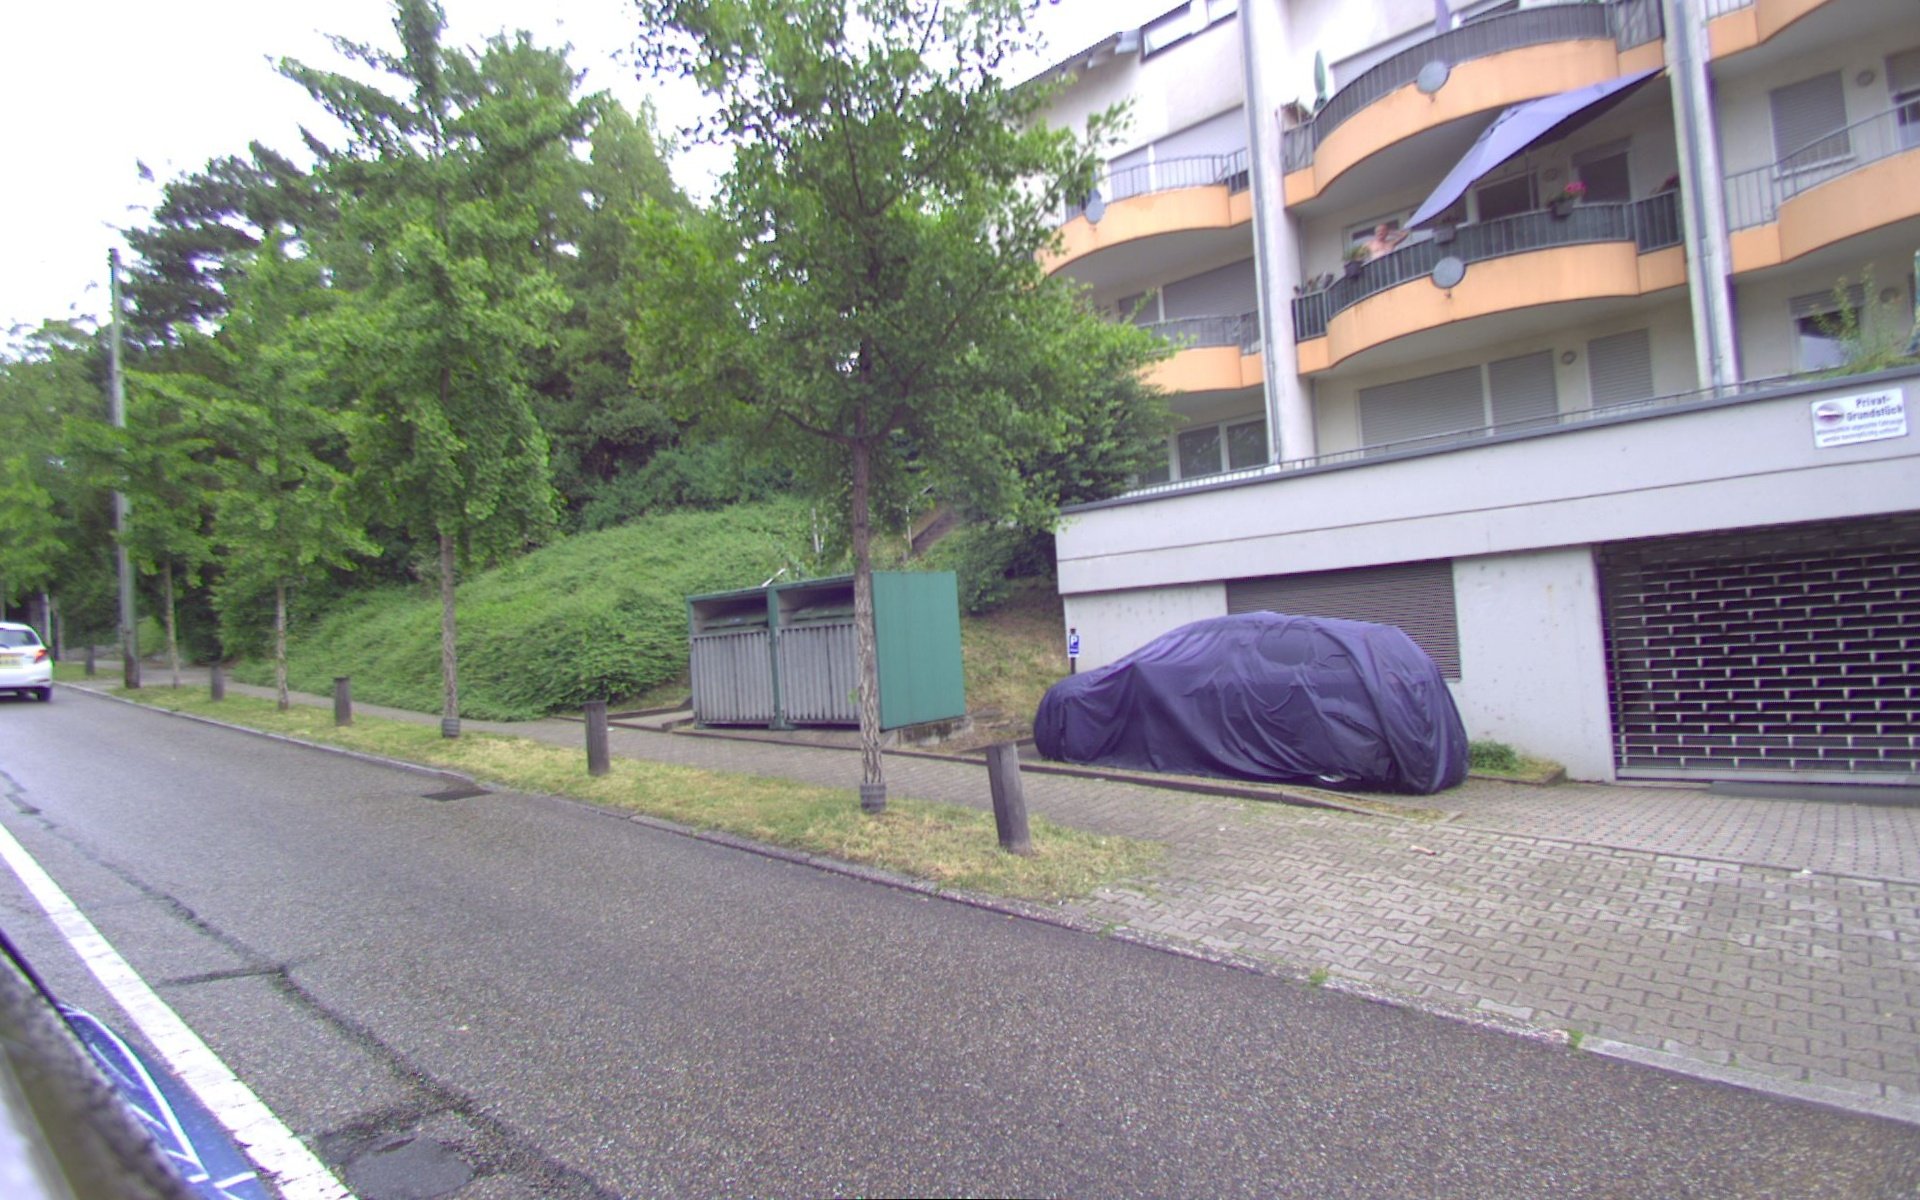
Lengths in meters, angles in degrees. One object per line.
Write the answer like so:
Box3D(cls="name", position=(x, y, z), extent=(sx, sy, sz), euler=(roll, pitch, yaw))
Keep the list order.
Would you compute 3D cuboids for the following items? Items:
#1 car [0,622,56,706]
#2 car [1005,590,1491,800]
Box3D(cls="car", position=(-19.236, 1.208, 19.820), extent=(3.838, 1.543, 1.692), euler=(-1, -3, 40))
Box3D(cls="car", position=(2.581, 0.802, 9.622), extent=(4.096, 1.573, 1.759), euler=(-1, -4, 41))
